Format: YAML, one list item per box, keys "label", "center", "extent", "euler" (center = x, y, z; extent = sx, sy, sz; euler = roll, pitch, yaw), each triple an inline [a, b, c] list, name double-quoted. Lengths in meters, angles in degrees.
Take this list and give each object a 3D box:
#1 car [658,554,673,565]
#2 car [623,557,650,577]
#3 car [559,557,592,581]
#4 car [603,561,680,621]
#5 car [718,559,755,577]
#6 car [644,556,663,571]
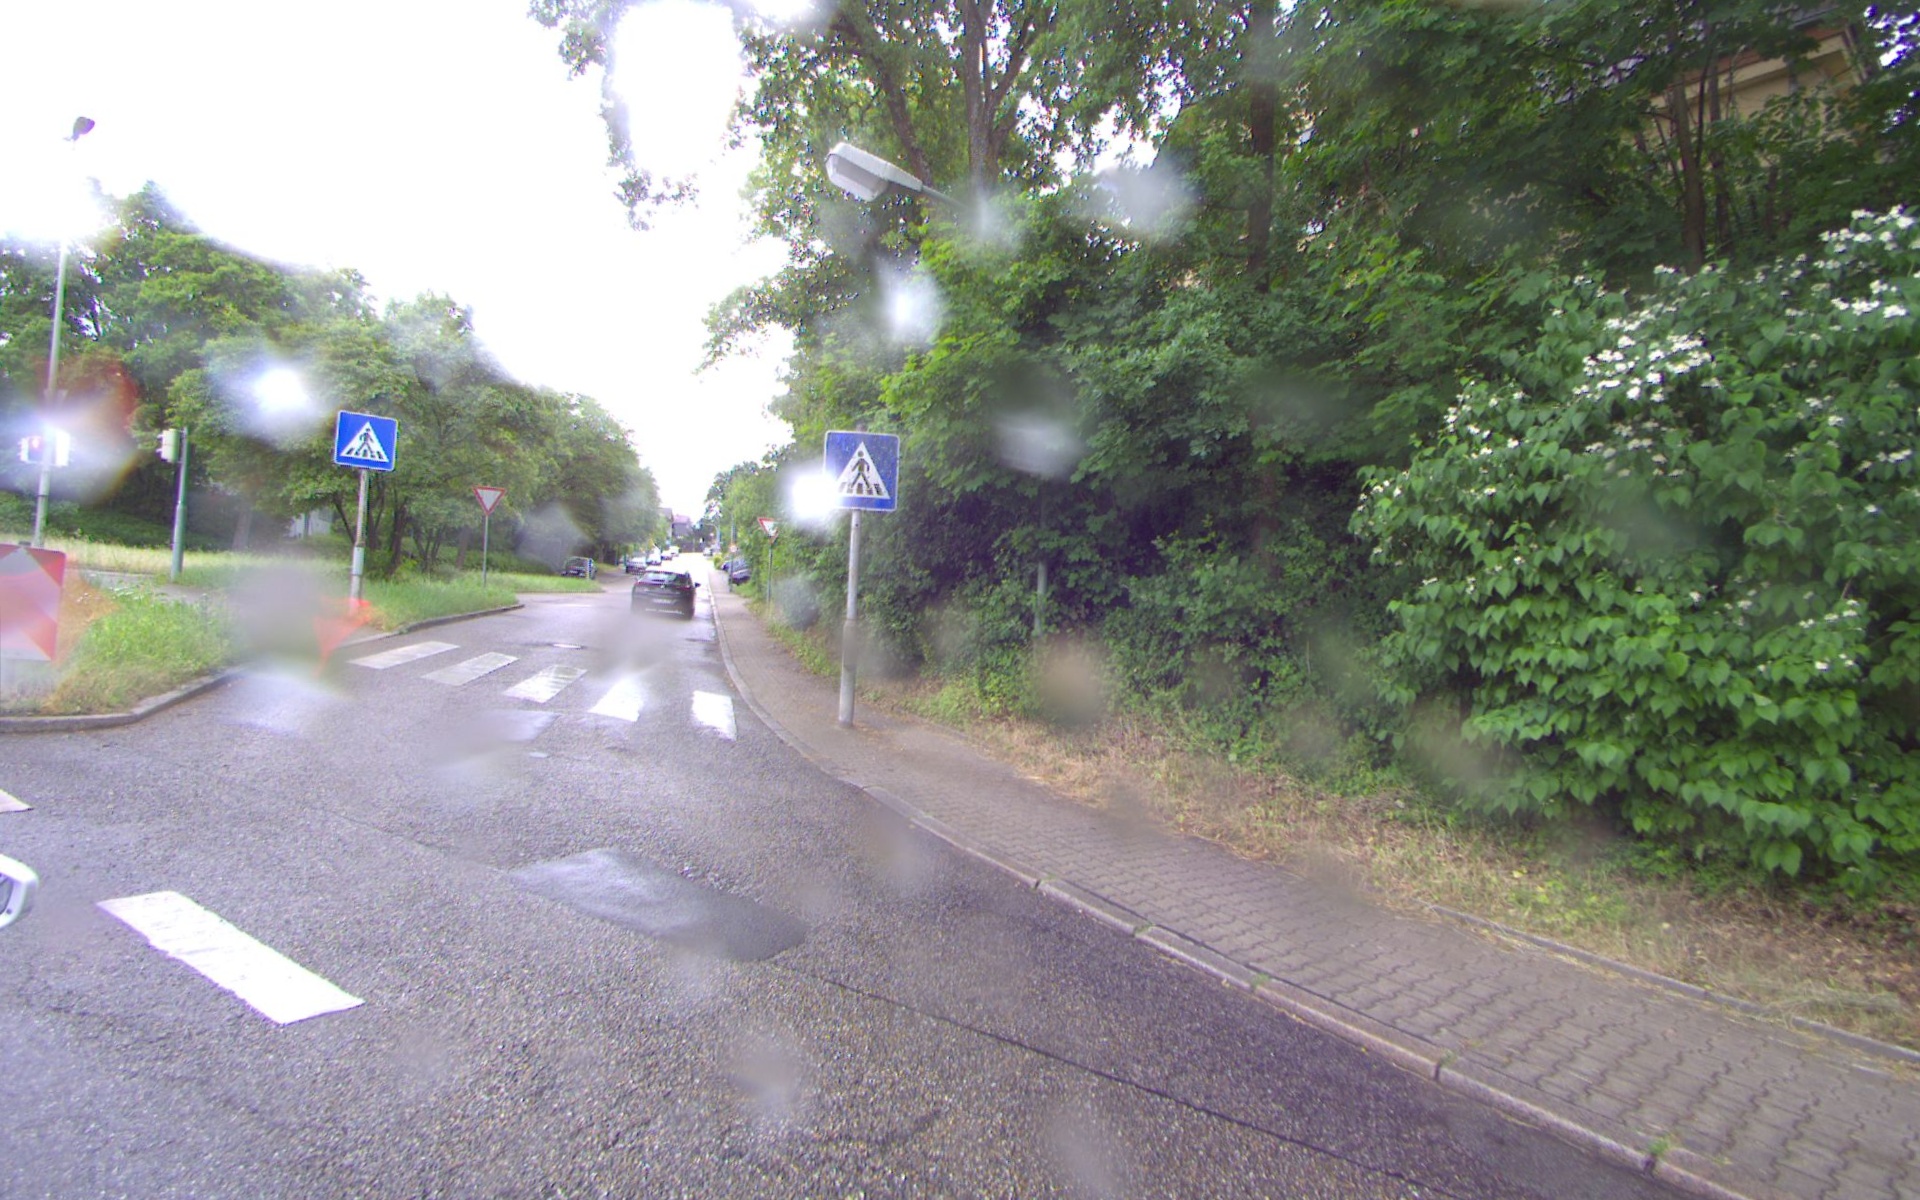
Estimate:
- label: "car"
  center: [-46.759, -6.463, 159.509]
  extent: [1.877, 1.413, 4.151]
  euler: [7, -2, -20]
- label: "car"
  center: [-30.090, -3.032, 93.731]
  extent: [1.874, 1.467, 4.285]
  euler: [7, -2, -13]
- label: "car"
  center: [-25.873, -2.087, 67.735]
  extent: [1.651, 1.387, 3.477]
  euler: [6, 0, -16]
- label: "car"
  center: [-9.597, -0.330, 30.571]
  extent: [1.789, 1.461, 4.148]
  euler: [6, 1, -14]
- label: "car"
  center: [-25.756, -3.702, 116.092]
  extent: [3.939, 1.594, 1.766]
  euler: [5, 1, -18]
- label: "car"
  center: [-37.694, -4.440, 123.645]
  extent: [1.968, 1.463, 4.278]
  euler: [7, -2, -19]
